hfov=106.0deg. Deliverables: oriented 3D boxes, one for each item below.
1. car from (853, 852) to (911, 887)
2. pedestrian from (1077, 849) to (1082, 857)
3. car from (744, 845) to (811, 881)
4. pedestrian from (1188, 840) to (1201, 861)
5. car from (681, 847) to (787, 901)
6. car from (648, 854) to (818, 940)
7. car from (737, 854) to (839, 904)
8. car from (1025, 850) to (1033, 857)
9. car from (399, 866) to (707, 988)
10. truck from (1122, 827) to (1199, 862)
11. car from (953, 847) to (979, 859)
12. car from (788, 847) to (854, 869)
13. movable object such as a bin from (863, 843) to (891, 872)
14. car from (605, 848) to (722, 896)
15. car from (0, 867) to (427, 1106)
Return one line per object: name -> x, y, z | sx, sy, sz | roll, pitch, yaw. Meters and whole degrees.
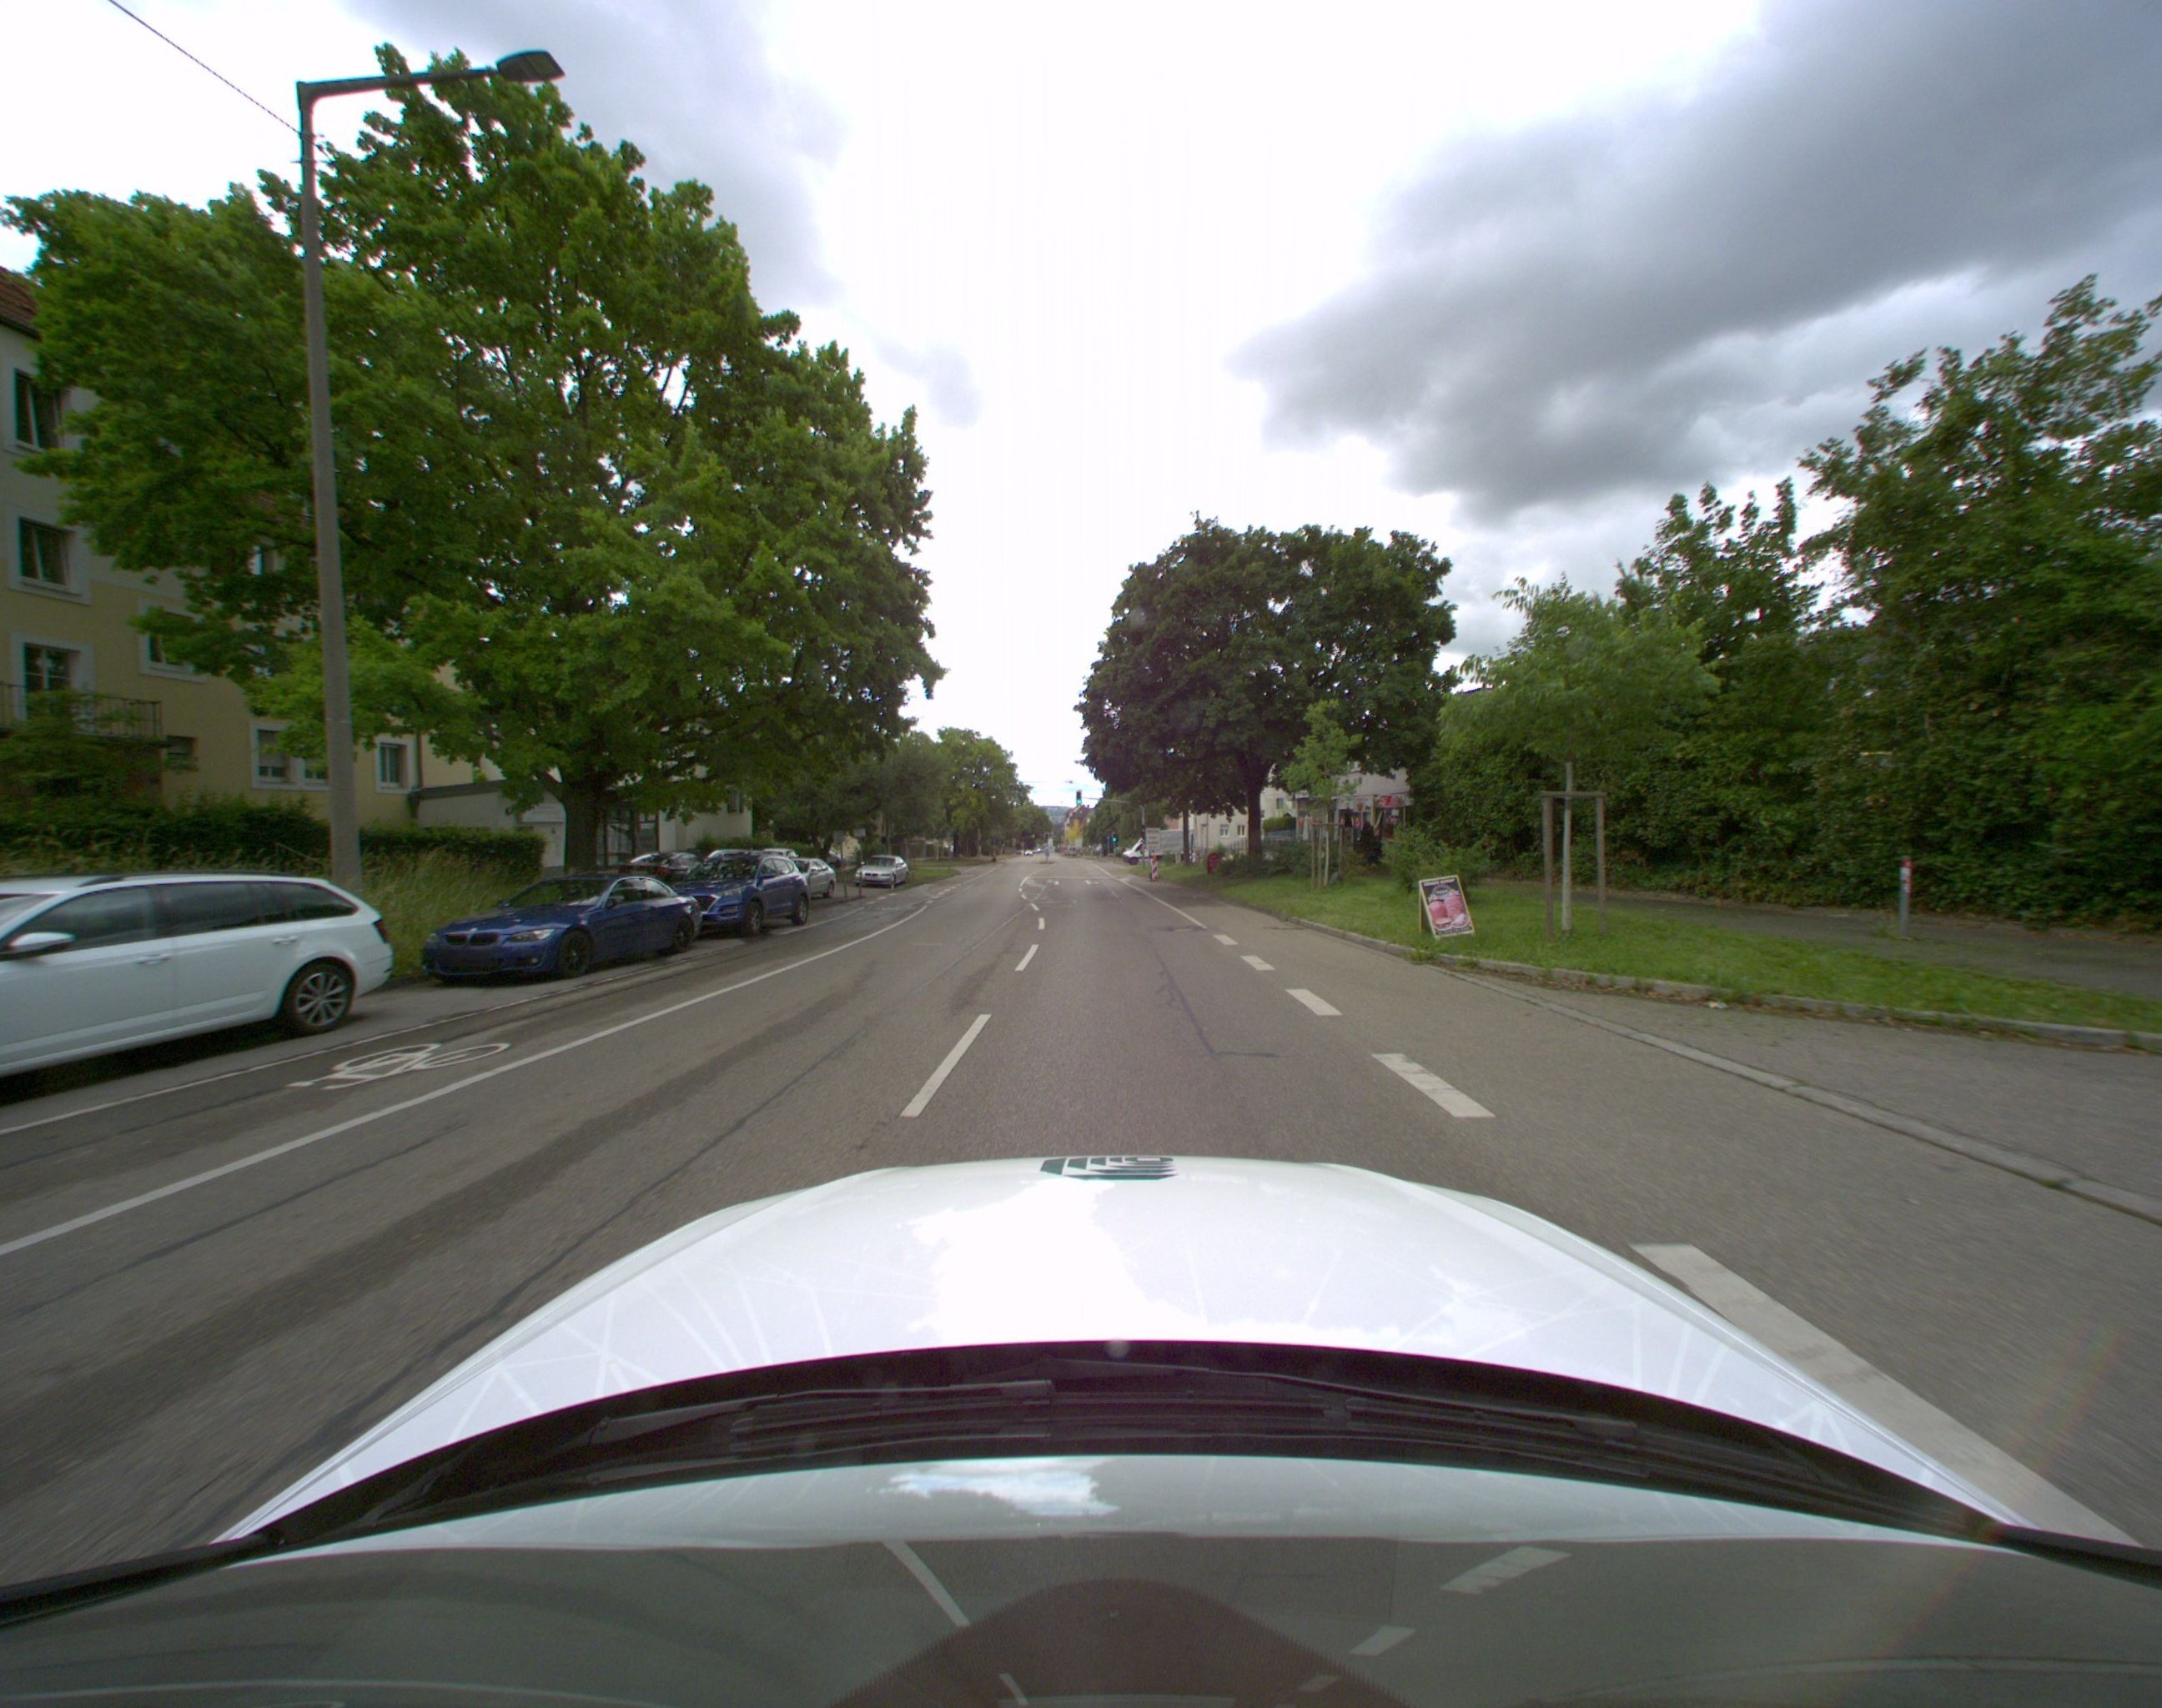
car -> -9.803, 0.707, 40.479 | 1.756, 1.633, 4.751 | 0, 0, 0
pedestrian -> -0.431, -0.224, 193.970 | 1.197, 1.810, 1.300 | 0, 0, -1
car -> -14.874, 0.419, 40.092 | 1.756, 1.633, 4.286 | 0, 0, -1
pedestrian -> 10.272, -0.301, 73.572 | 0.749, 1.855, 0.949 | -3, 1, -17
car -> -11.783, 0.643, 27.939 | 1.755, 1.633, 4.001 | 3, 0, 1
car -> -7.306, 0.814, 17.667 | 1.709, 1.613, 4.534 | 1, 0, 0
car -> -9.743, 0.765, 27.452 | 1.755, 1.535, 4.393 | 0, 0, 1
car -> -12.733, -0.104, 200.104 | 1.989, 1.505, 3.995 | 0, 0, -3
car -> -7.388, 0.915, 12.032 | 1.709, 1.389, 4.338 | 0, 0, 0
truck -> 7.561, -0.878, 78.429 | 7.204, 3.307, 2.540 | 0, 0, 0
car -> -16.346, -0.162, 115.527 | 3.442, 1.596, 1.997 | 0, 0, -4
car -> -22.196, 0.297, 69.575 | 4.983, 1.813, 1.997 | 0, 0, -4
movable object such as a bin -> -14.143, 0.236, 56.573 | 1.213, 1.903, 3.024 | 0, 0, -1
car -> -14.350, 0.571, 28.308 | 1.756, 1.470, 4.439 | 3, 0, -1
car -> -7.636, 0.856, 6.025 | 1.709, 1.459, 4.756 | 0, 0, 0
